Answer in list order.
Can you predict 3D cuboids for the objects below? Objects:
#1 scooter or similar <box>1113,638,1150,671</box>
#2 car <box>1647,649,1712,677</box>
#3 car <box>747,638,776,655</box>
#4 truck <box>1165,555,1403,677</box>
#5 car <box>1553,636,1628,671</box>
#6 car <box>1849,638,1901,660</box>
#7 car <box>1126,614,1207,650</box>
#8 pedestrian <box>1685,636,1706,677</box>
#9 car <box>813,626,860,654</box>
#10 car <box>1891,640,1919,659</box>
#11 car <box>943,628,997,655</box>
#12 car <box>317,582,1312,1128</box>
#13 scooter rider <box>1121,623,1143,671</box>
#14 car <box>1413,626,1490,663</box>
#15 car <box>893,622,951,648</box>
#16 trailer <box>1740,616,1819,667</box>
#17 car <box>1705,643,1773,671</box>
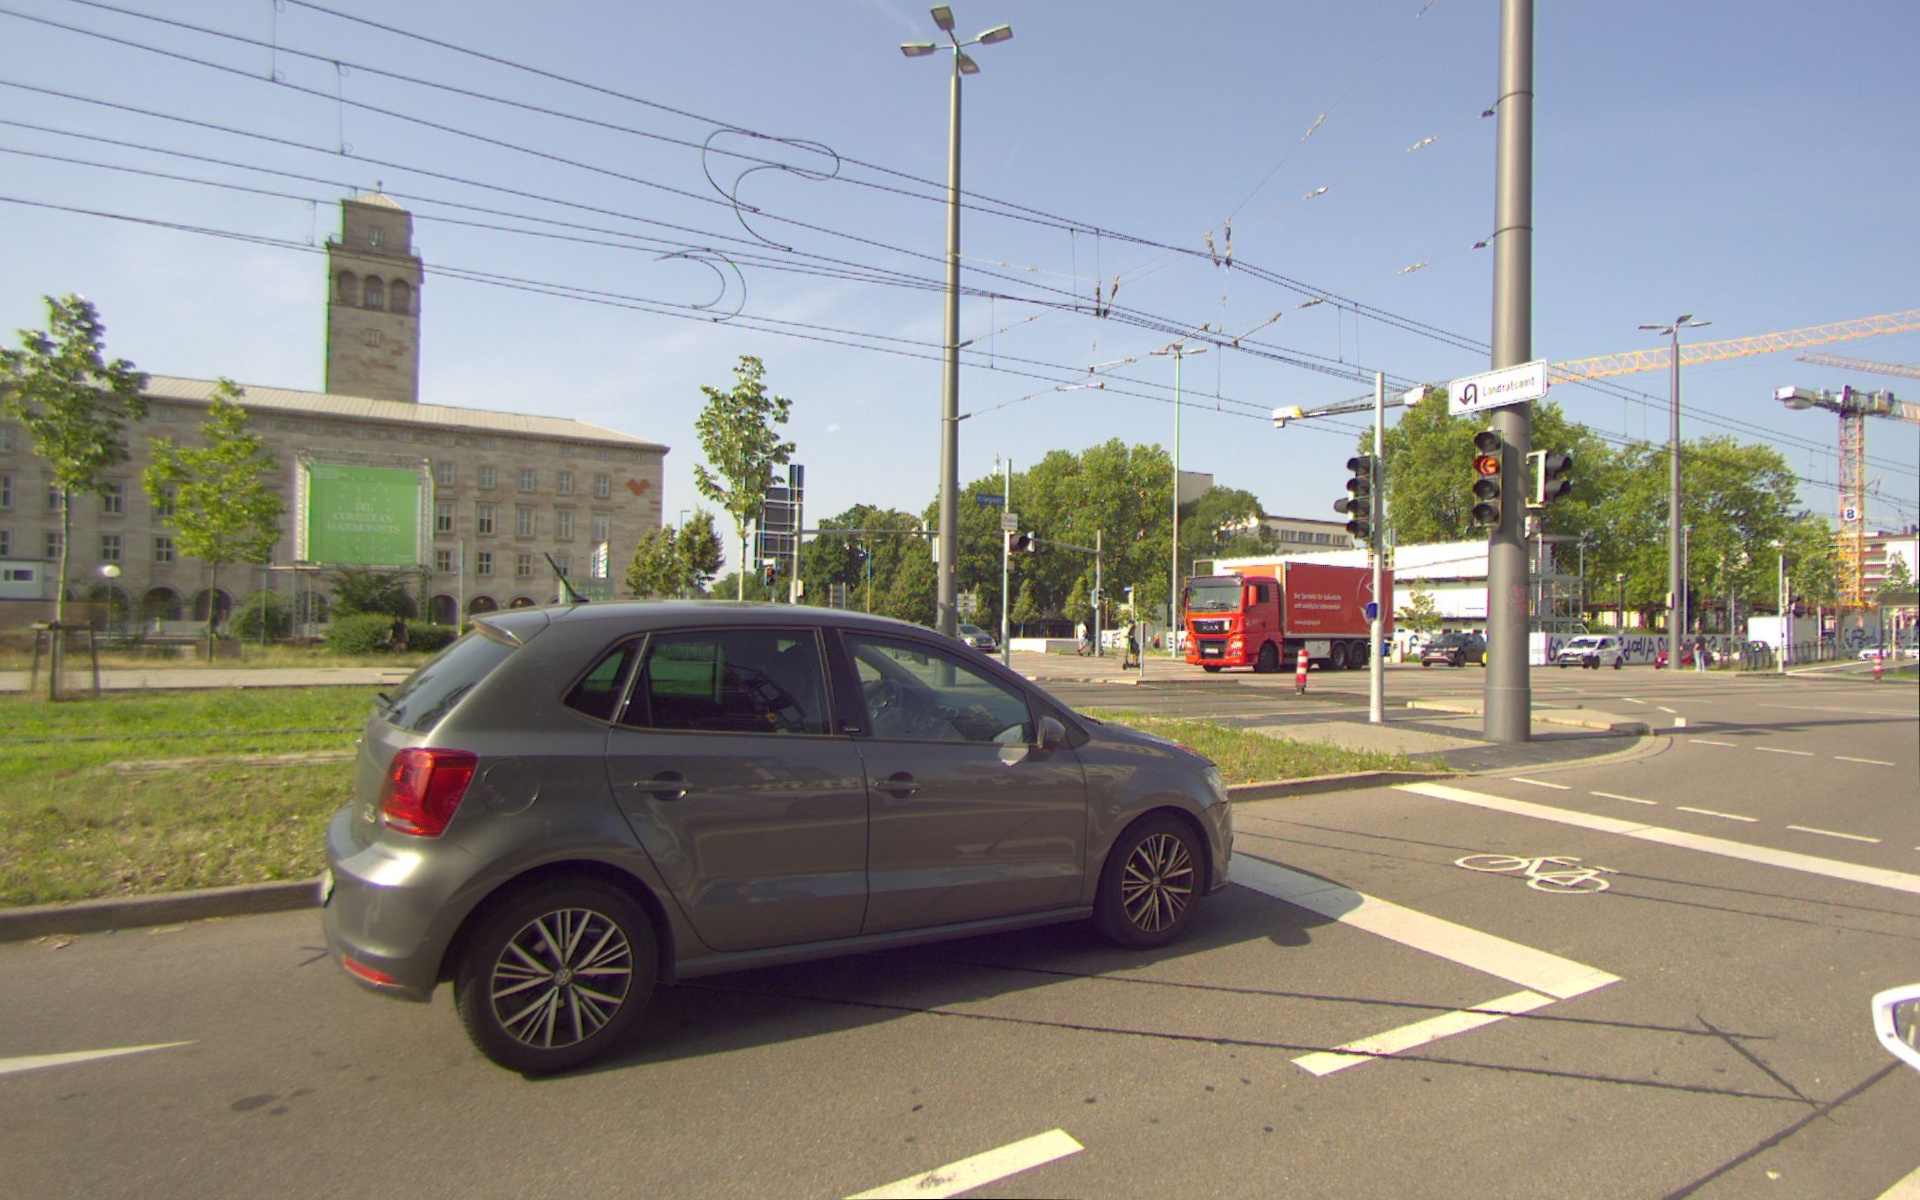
[{"bbox_3d":[6.239,1.987,36.577,1.370,1.162,0.535,2,-2,-37],"label":"scooter or similar"},{"bbox_3d":[37.741,3.293,52.670,3.661,1.379,1.709,2,-1,-35],"label":"car"},{"bbox_3d":[-18.780,4.380,94.813,1.808,1.526,3.995,2,-2,-24],"label":"car"},{"bbox_3d":[11.923,0.677,36.153,10.332,3.859,2.948,2,-2,-39],"label":"truck"},{"bbox_3d":[34.064,2.892,54.209,4.467,1.812,1.608,2,-2,-31],"label":"car"},{"bbox_3d":[72.526,3.888,79.636,4.562,1.602,1.783,2,-2,-30],"label":"car"},{"bbox_3d":[9.853,1.520,47.764,3.965,1.622,1.627,2,-2,-38],"label":"car"},{"bbox_3d":[30.872,2.371,42.162,0.629,1.698,0.370,1,-1,-14],"label":"pedestrian"},{"bbox_3d":[-8.527,2.718,69.145,1.974,1.855,3.974,2,-2,-26],"label":"car"},{"bbox_3d":[79.154,4.118,83.552,3.394,1.483,1.588,2,-2,-31],"label":"car"},{"bbox_3d":[0.543,2.316,56.849,1.552,1.439,3.314,2,-2,-31],"label":"car"},{"bbox_3d":[-0.470,0.720,4.396,3.824,1.452,1.696,2,1,-30],"label":"car"},{"bbox_3d":[6.278,1.714,36.641,0.544,1.720,0.533,2,-1,-36],"label":"scooter rider"},{"bbox_3d":[22.378,2.003,45.667,3.965,1.622,1.627,2,-2,-38],"label":"car"},{"bbox_3d":[-2.148,1.929,55.636,1.691,1.398,3.623,2,-2,-31],"label":"car"},{"bbox_3d":[48.239,2.449,59.088,4.966,2.818,2.033,2,0,-32],"label":"trailer"},{"bbox_3d":[43.072,3.122,55.514,4.355,1.489,1.634,2,-2,-33],"label":"car"}]
